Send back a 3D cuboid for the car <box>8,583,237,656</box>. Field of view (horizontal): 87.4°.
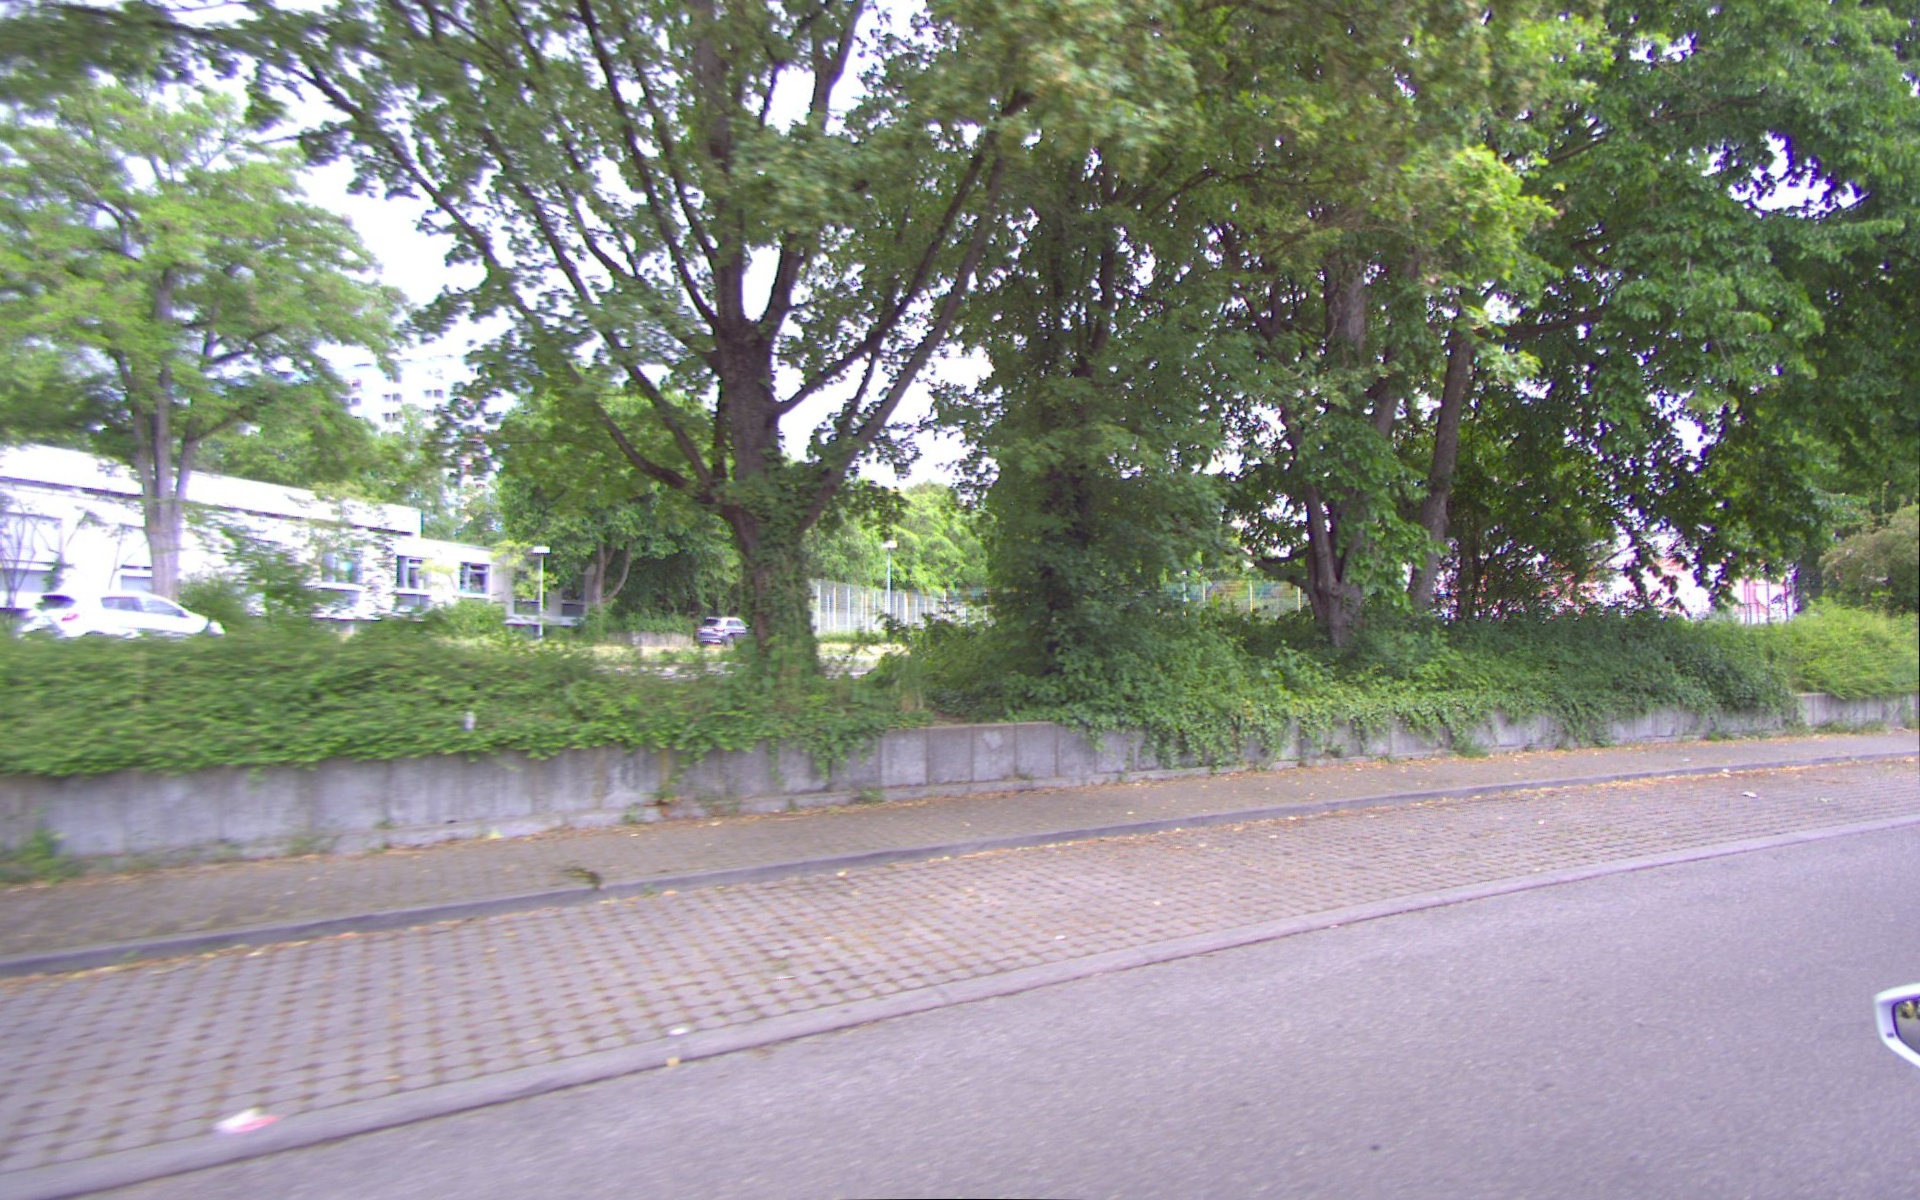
[{"bbox_3d":[-18.937,0.459,22.920,1.753,1.461,3.620,2,-1,16],"label":"car"}]

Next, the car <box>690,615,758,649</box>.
[{"bbox_3d":[-12.736,1.748,54.471,1.960,1.706,4.003,-2,-2,14],"label":"car"}]

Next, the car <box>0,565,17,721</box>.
[{"bbox_3d":[-11.468,0.424,9.133,1.711,1.643,3.875,-2,-2,17],"label":"car"}]
